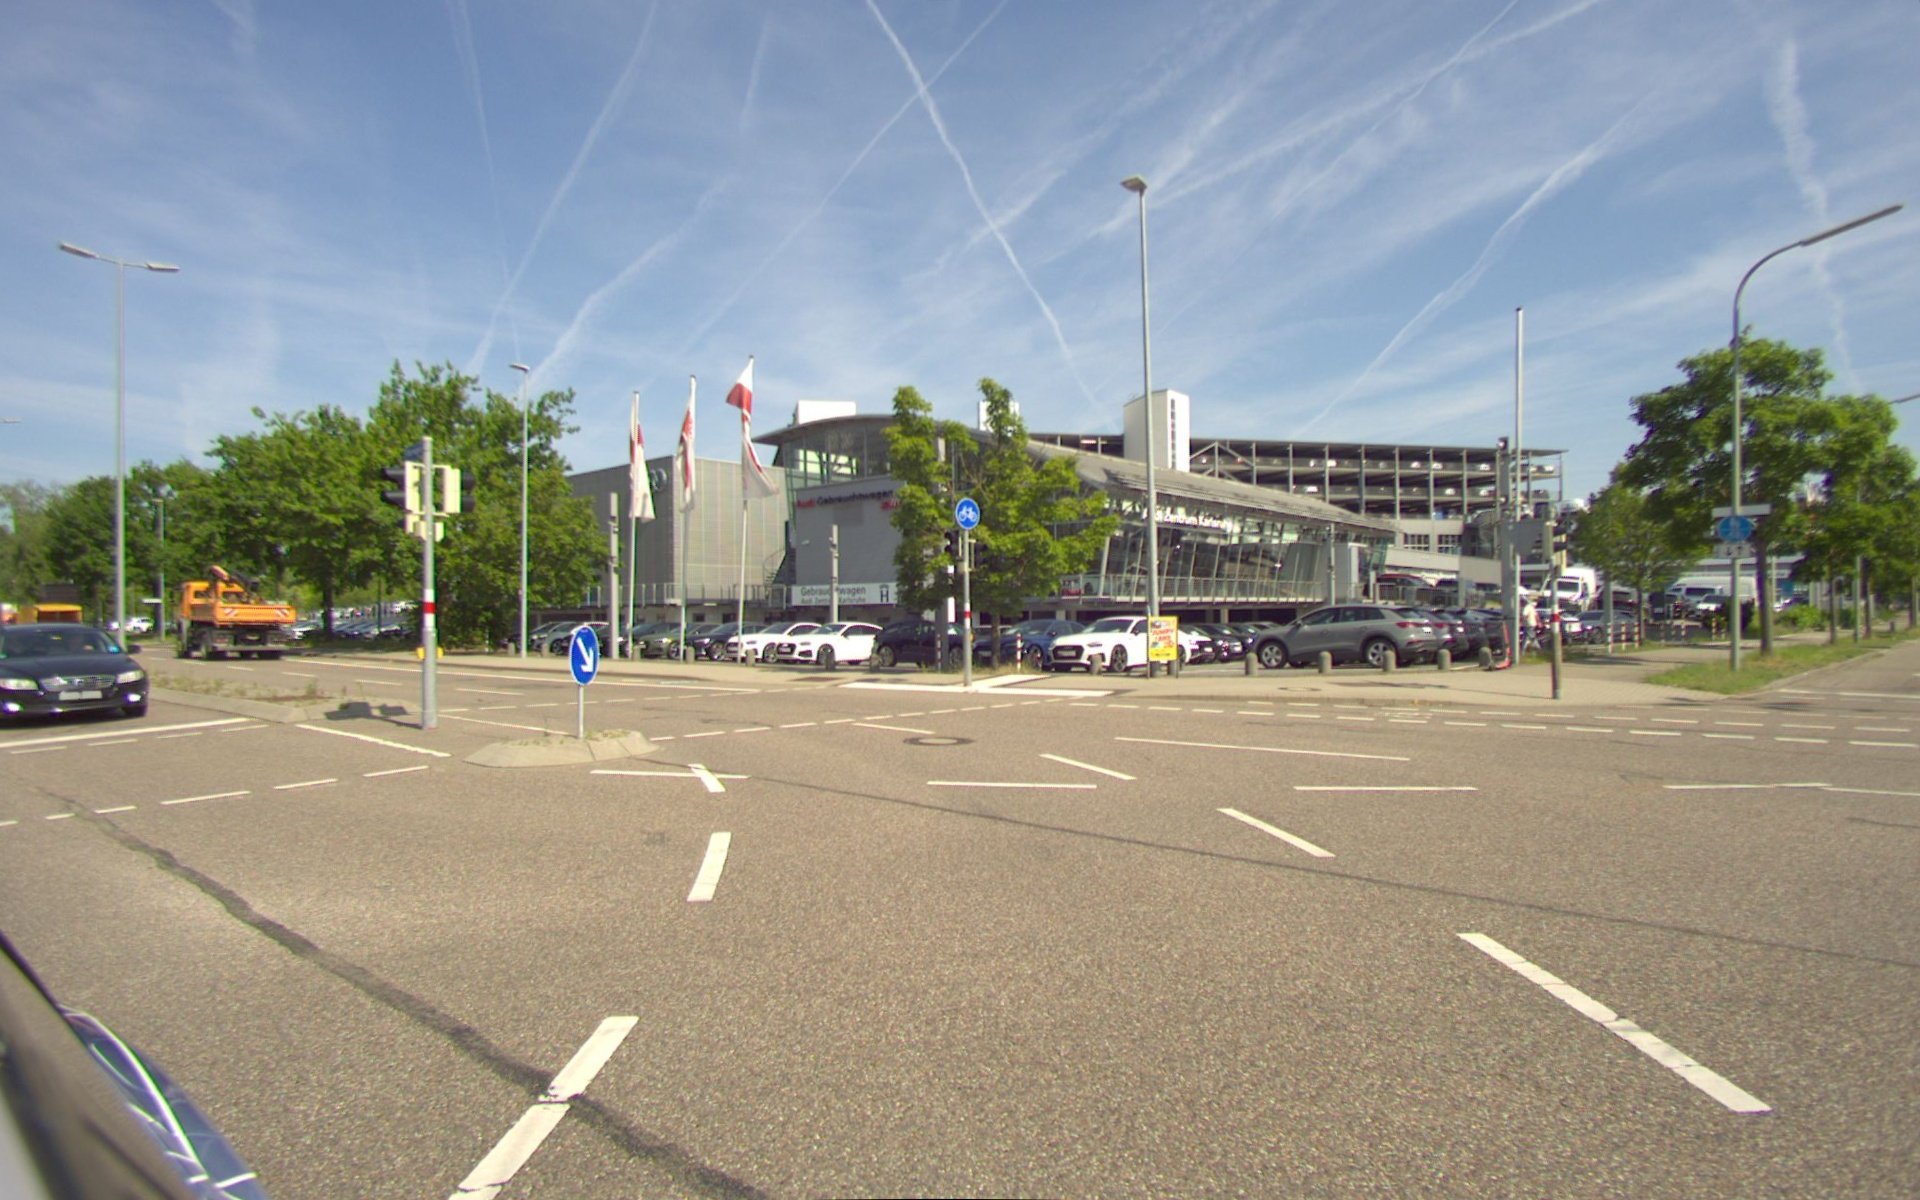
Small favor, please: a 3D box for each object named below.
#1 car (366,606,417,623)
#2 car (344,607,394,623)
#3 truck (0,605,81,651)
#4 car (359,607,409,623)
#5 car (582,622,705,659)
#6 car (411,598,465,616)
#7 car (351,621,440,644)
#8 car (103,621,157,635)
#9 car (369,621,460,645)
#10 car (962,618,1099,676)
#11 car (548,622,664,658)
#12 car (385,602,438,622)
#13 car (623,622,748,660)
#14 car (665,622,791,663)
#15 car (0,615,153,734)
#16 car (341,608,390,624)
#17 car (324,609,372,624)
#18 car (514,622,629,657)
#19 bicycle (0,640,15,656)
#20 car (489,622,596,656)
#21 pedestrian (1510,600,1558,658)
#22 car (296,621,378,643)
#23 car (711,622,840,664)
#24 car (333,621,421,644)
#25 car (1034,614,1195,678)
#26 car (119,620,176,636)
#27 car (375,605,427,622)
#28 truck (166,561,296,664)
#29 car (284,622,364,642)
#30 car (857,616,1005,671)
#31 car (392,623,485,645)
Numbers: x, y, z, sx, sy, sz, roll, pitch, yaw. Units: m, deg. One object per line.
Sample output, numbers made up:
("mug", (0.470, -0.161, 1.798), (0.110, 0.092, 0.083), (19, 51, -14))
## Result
("car", (-56.966, 1.447, 101.497), (1.690, 1.511, 4.141), (-2, -4, 42))
("car", (-61.421, 1.624, 105.296), (1.690, 1.511, 4.141), (-2, -4, 42))
("truck", (-57.125, 1.756, 62.653), (6.653, 2.644, 2.356), (-2, 0, 33))
("car", (-58.631, 1.529, 103.069), (1.690, 1.511, 4.141), (-2, -4, 42))
("car", (-12.288, 1.615, 39.477), (1.828, 1.365, 4.237), (-1, -4, 40))
("car", (-49.020, 0.680, 95.158), (1.690, 1.511, 4.141), (-2, -4, 42))
("car", (-32.386, 1.884, 58.121), (1.690, 1.204, 4.141), (-2, -4, 42))
("car", (-86.629, 2.919, 105.680), (1.690, 1.389, 4.141), (-2, -4, 42))
("car", (-30.446, 1.851, 56.549), (1.690, 1.256, 4.141), (-2, -4, 42))
("car", (1.931, 1.194, 26.846), (1.762, 1.413, 3.796), (-1, -1, 39))
("car", (-14.355, 1.636, 41.219), (1.833, 1.365, 4.069), (-1, -4, 39))
("car", (-53.213, 1.194, 98.215), (1.690, 1.745, 4.141), (-2, -4, 42))
("car", (-10.098, 1.541, 37.462), (1.853, 1.345, 4.132), (-1, -4, 40))
("car", (-8.065, 1.511, 35.445), (1.837, 1.329, 3.944), (-2, -4, 42))
("car", (-14.280, 1.066, 15.735), (4.867, 1.533, 1.858), (-2, 1, 41))
("car", (-62.908, 1.693, 107.076), (1.690, 1.511, 4.141), (-2, -4, 42))
("car", (-66.687, 1.852, 110.286), (1.690, 1.511, 4.141), (-2, -4, 42))
("car", (-16.431, 1.697, 42.954), (1.801, 1.405, 4.172), (-1, -4, 40))
("bicycle", (-72.529, 3.642, 76.921), (1.765, 1.159, 0.566), (-1, -2, 34))
("car", (-18.430, 1.728, 44.795), (1.808, 1.413, 3.983), (-1, -4, 40))
("pedestrian", (17.800, 0.900, 31.375), (0.902, 1.763, 1.006), (0, -1, -38))
("car", (-40.005, 2.044, 65.068), (1.690, 1.309, 4.141), (-2, -4, 42))
("car", (-6.134, 1.455, 33.918), (1.867, 1.329, 3.945), (-1, -4, 41))
("car", (-34.304, 1.922, 59.653), (1.690, 1.215, 4.141), (-2, -4, 42))
("car", (3.959, 1.085, 25.386), (1.900, 1.443, 4.325), (-2, -1, 43))
("car", (-80.738, 2.805, 100.597), (1.690, 1.511, 4.141), (-2, -4, 42))
("car", (-55.206, 1.390, 99.967), (1.690, 1.511, 4.141), (-2, -4, 42))
("truck", (-29.025, 0.531, 40.173), (7.579, 3.708, 2.716), (-1, -2, 43))
("car", (-41.989, 2.135, 66.880), (1.690, 1.265, 4.141), (-2, -4, 42))
("car", (-0.925, 1.266, 30.181), (4.423, 1.507, 1.779), (-2, -1, 42))
("car", (-28.178, 1.853, 54.803), (1.719, 1.131, 4.141), (-2, -4, 42))
